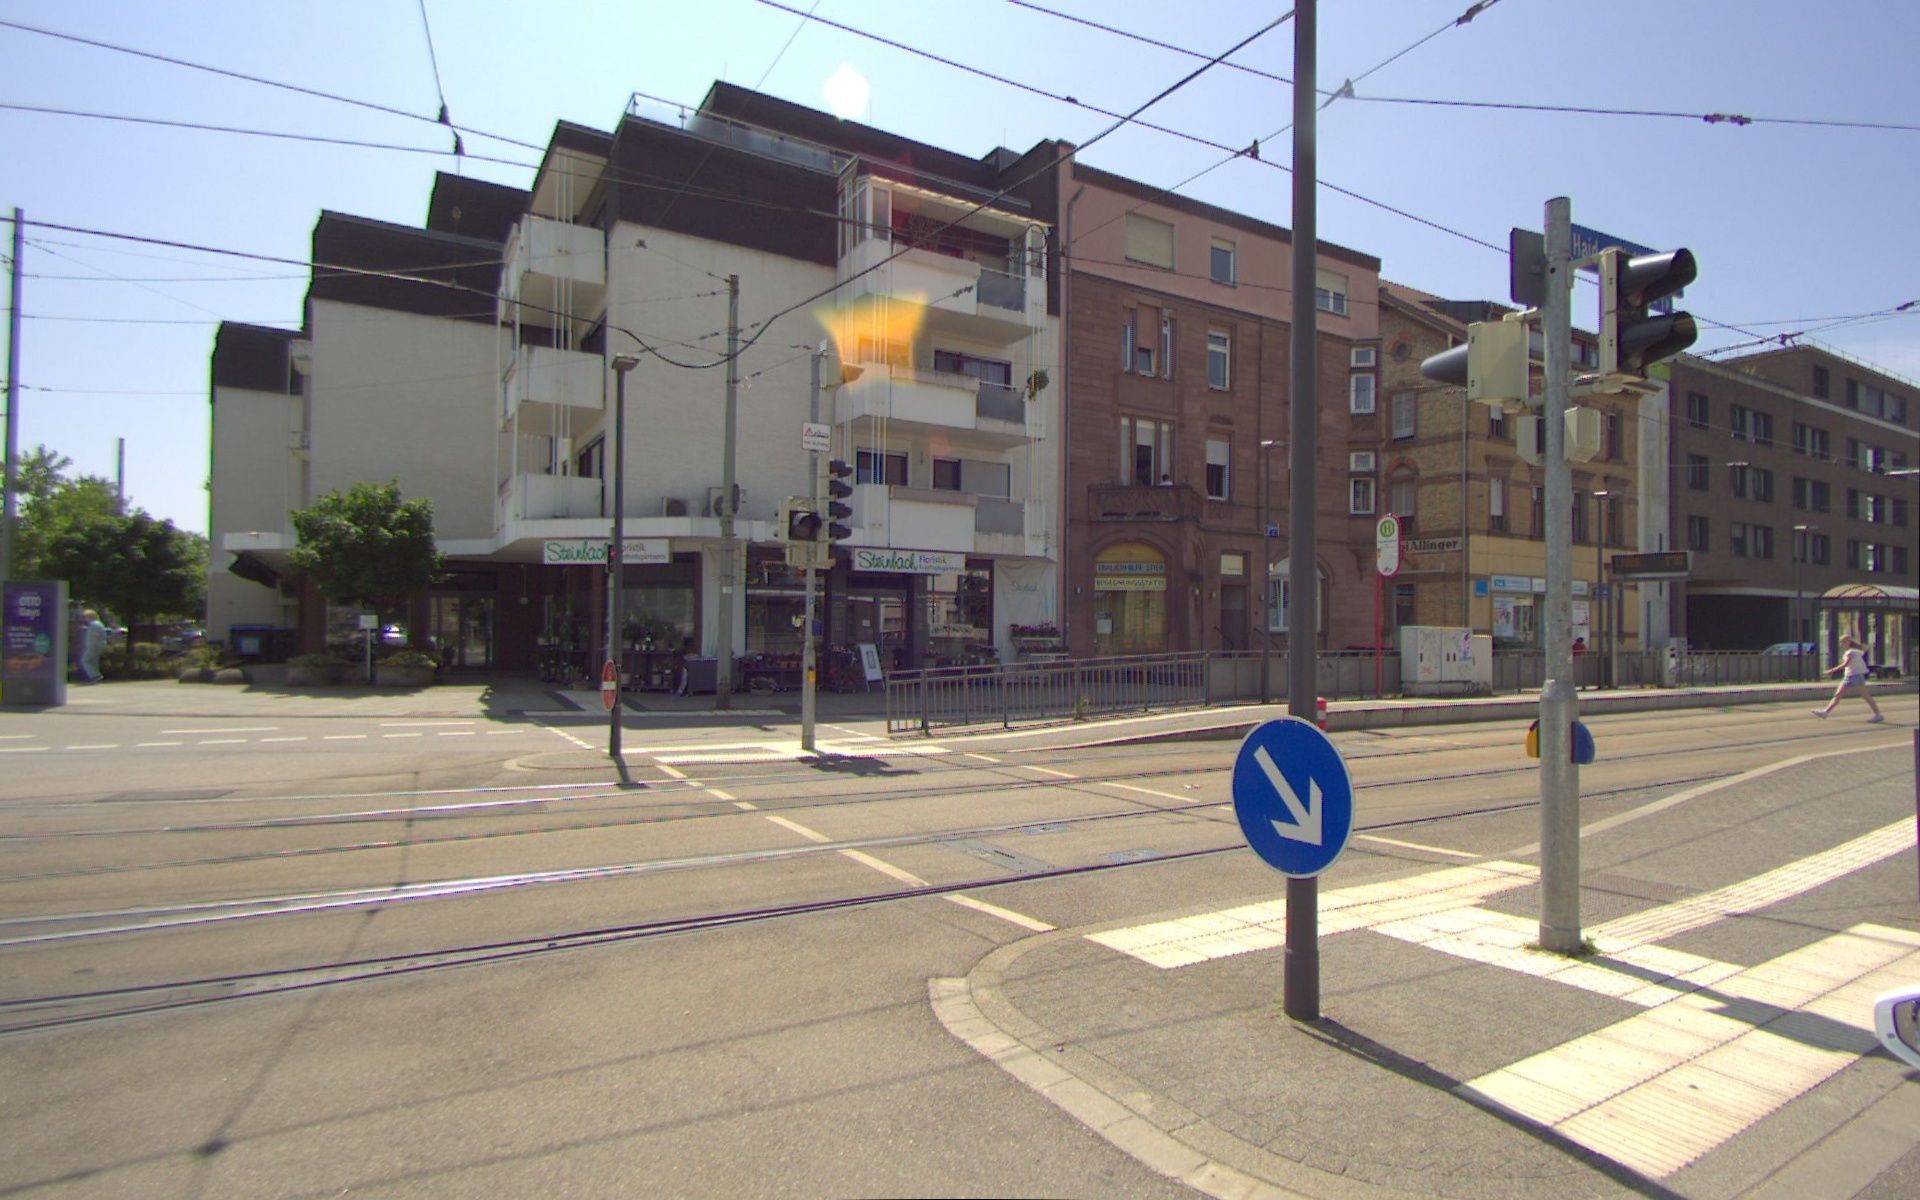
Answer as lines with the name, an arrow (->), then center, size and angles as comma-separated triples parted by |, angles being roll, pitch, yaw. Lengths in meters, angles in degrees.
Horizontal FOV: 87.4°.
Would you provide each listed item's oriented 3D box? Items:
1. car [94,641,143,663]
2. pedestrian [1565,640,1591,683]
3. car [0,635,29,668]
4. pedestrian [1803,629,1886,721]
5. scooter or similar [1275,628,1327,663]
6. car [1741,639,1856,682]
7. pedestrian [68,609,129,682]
car -> -49.807, 3.078, 59.485 | 1.572, 1.256, 3.553 | 1, -3, -30
pedestrian -> 23.112, 2.289, 37.567 | 0.633, 1.581, 0.611 | 1, -2, -32
car -> -36.793, 1.940, 37.951 | 1.572, 1.235, 3.553 | 1, -3, -30
pedestrian -> 16.989, 1.415, 19.319 | 1.082, 1.696, 0.763 | -1, -2, 35
scooter or similar -> 10.824, 1.436, 31.923 | 1.550, 1.096, 0.488 | 0, -2, -15
car -> 31.059, 2.200, 37.181 | 3.951, 1.528, 1.985 | 1, -2, -29
pedestrian -> -20.687, 1.100, 24.129 | 0.792, 1.719, 0.701 | 0, -2, -3
